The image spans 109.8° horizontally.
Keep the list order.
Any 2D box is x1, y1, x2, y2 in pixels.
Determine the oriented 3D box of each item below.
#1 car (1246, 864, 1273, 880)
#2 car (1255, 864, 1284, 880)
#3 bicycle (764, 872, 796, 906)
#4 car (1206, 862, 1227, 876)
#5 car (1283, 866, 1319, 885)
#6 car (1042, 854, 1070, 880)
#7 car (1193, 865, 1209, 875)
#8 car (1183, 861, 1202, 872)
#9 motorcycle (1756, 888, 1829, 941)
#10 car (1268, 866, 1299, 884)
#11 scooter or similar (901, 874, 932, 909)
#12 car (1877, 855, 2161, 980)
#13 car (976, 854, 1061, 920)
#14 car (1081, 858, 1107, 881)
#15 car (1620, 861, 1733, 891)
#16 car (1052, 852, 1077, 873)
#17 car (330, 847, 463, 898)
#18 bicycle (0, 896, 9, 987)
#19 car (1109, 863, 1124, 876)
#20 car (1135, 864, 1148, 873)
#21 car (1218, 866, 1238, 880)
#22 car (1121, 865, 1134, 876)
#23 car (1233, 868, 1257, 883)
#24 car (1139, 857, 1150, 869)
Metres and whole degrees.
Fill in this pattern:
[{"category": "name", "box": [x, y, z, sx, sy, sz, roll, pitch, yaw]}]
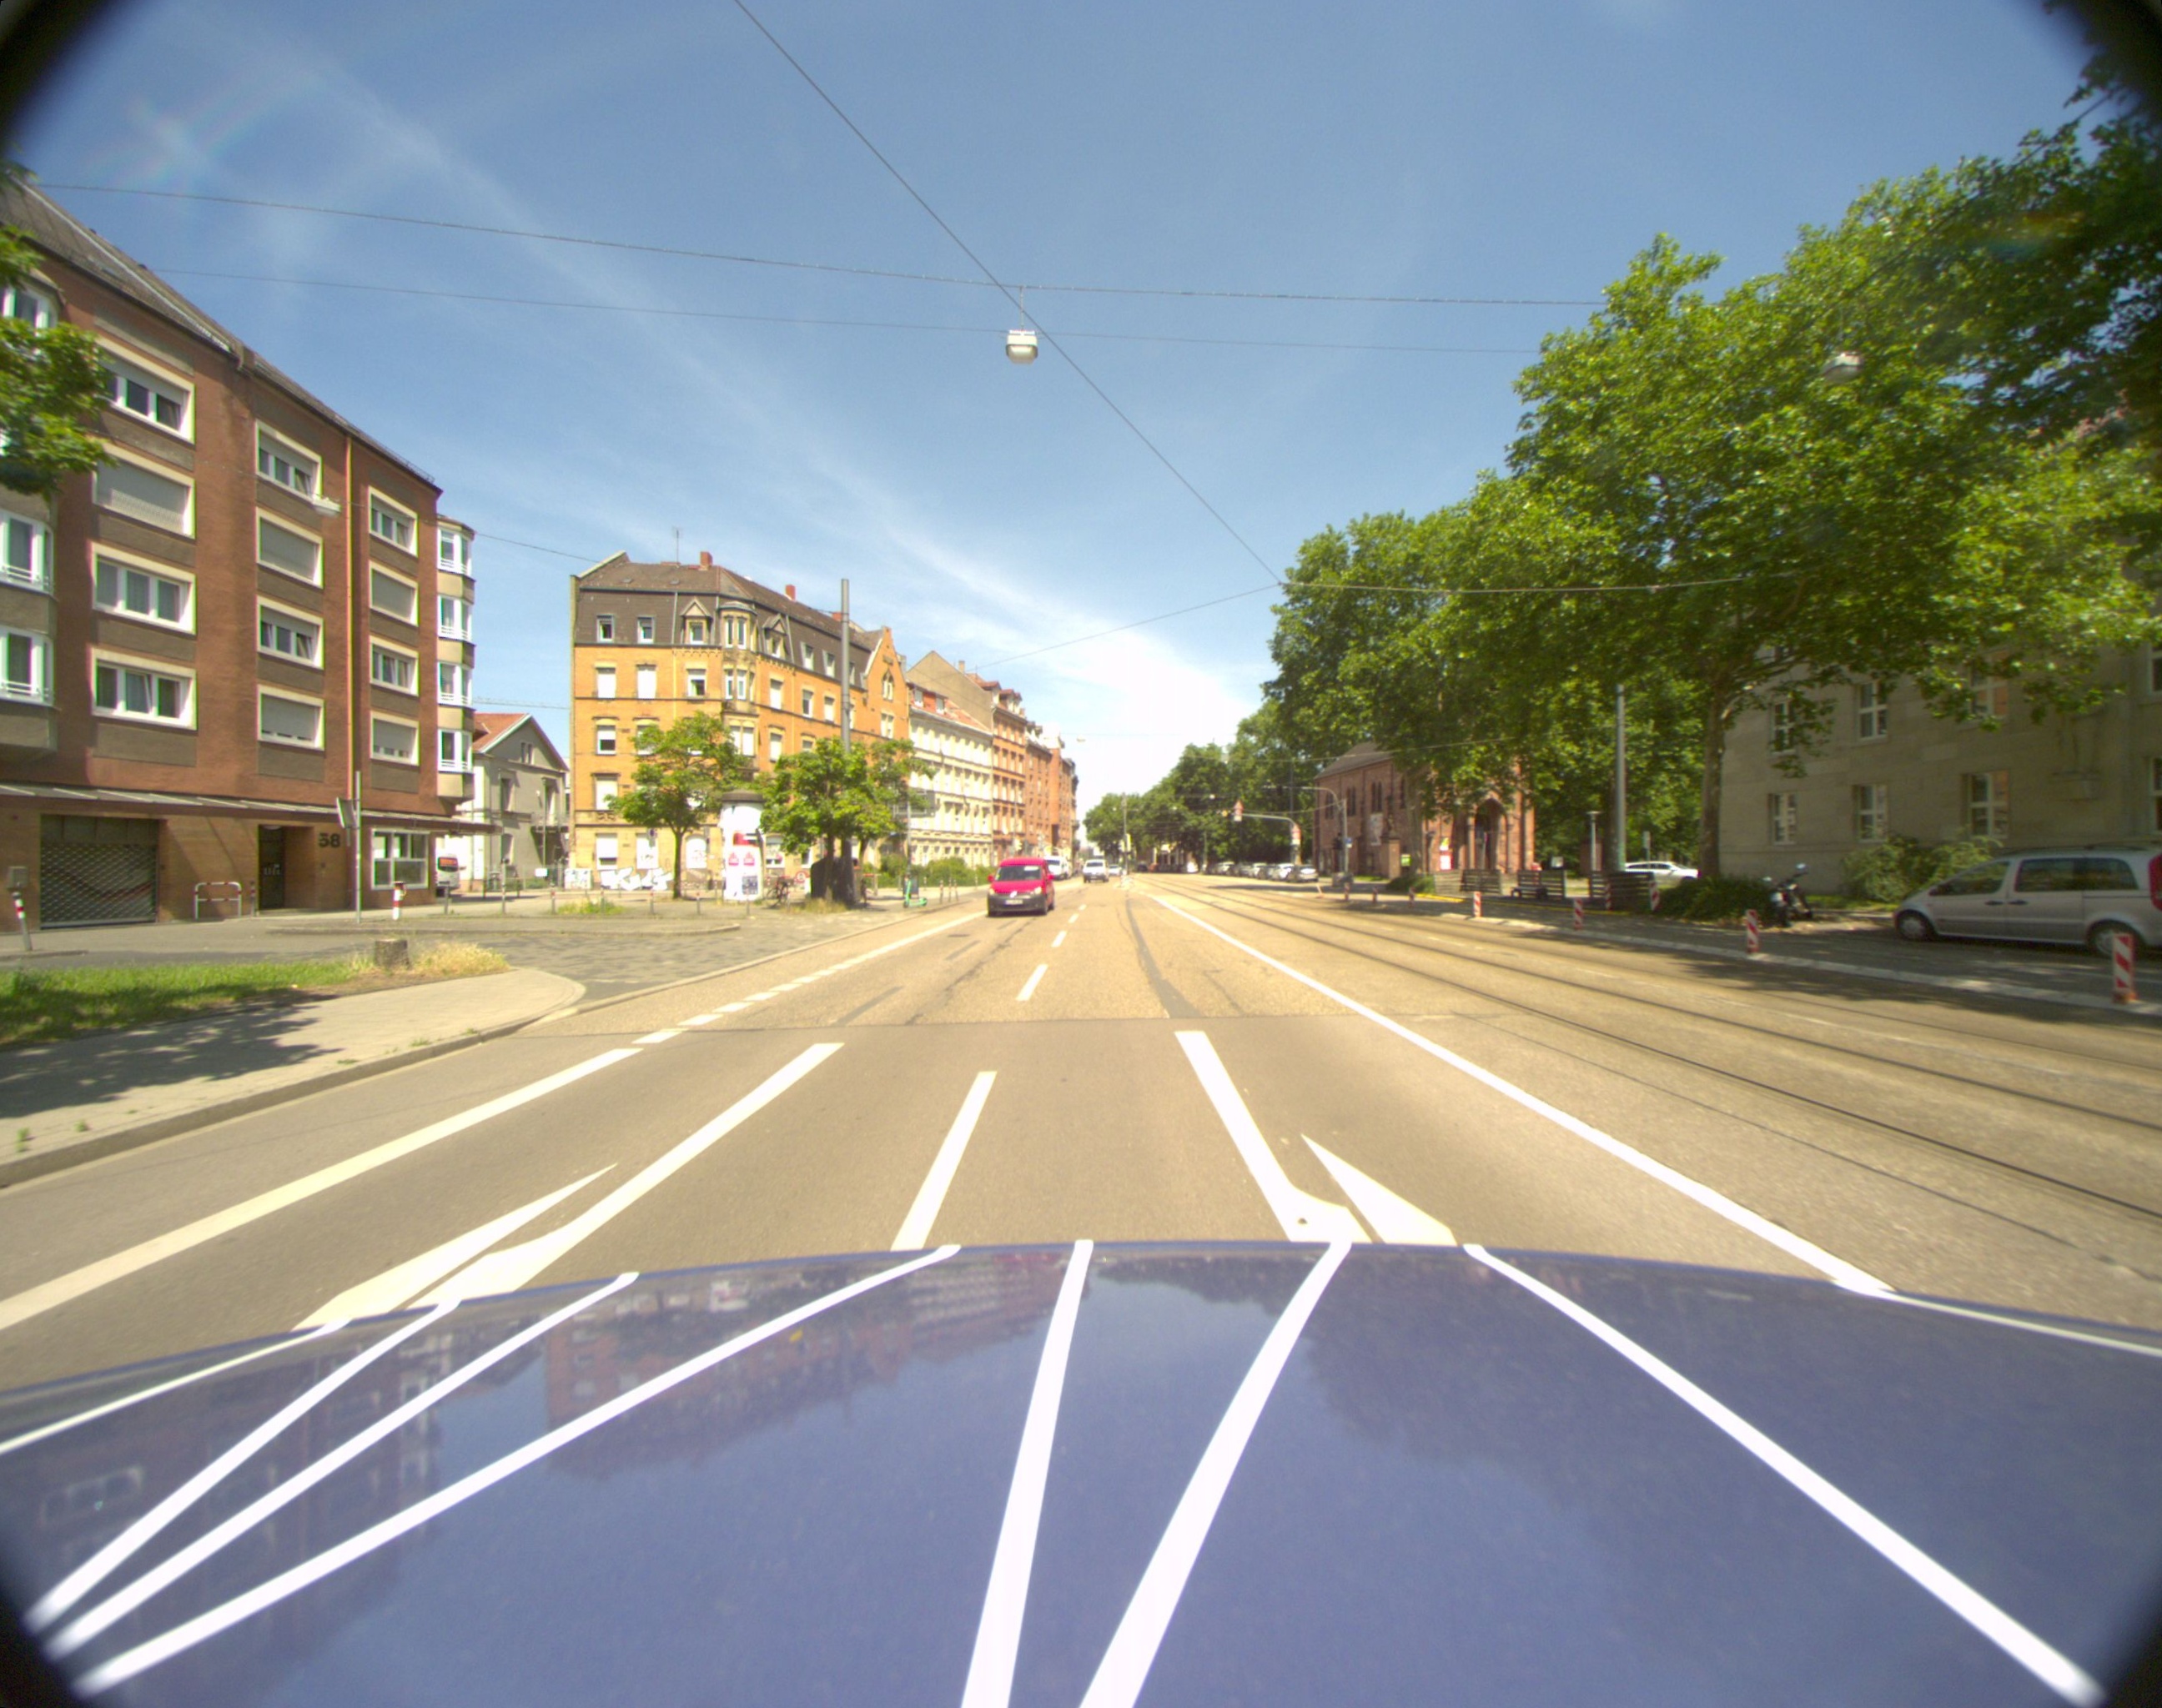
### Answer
[{"category": "car", "box": [17.874, 1.804, 76.308, 1.747, 1.450, 3.753, -1, 0, -1]}, {"category": "car", "box": [17.642, 1.658, 71.408, 1.662, 1.450, 4.058, -1, 0, -1]}, {"category": "bicycle", "box": [-10.834, 1.260, 27.391, 0.487, 1.146, 1.708, -1, 0, -2]}, {"category": "car", "box": [17.963, 1.984, 100.714, 1.998, 1.707, 4.000, -1, 0, 1]}, {"category": "car", "box": [17.685, 1.708, 61.301, 1.662, 1.450, 4.221, -1, 0, 1]}, {"category": "car", "box": [-2.381, 1.251, 74.631, 1.997, 2.317, 5.410, 2, 0, 6]}, {"category": "car", "box": [17.109, 2.275, 108.425, 1.650, 1.372, 3.765, -1, 0, -1]}, {"category": "car", "box": [16.885, 1.897, 115.273, 1.977, 1.553, 3.999, -1, 0, -2]}, {"category": "motorcycle", "box": [16.773, 1.407, 17.894, 1.875, 1.062, 0.725, -3, 1, -30]}, {"category": "car", "box": [17.644, 1.810, 66.280, 1.662, 1.450, 4.059, -1, 0, 1]}, {"category": "scooter or similar", "box": [-5.871, 1.338, 27.116, 0.390, 1.207, 1.182, 3, -1, 24]}, {"category": "car", "box": [17.035, 0.951, 13.191, 1.998, 1.800, 4.302, -1, 0, 2]}, {"category": "car", "box": [-1.852, 0.950, 24.175, 1.859, 1.823, 5.168, -1, 0, 5]}, {"category": "car", "box": [1.121, 1.311, 65.704, 2.165, 1.926, 4.855, -1, 0, 1]}, {"category": "car", "box": [32.968, 1.196, 42.195, 1.918, 1.499, 4.524, -1, 0, -34]}, {"category": "car", "box": [-1.756, 0.858, 81.217, 1.997, 2.123, 5.275, 2, 0, 5]}, {"category": "car", "box": [-37.474, 0.992, 41.700, 5.217, 2.606, 1.999, -1, 0, -4]}, {"category": "bicycle", "box": [-15.081, 1.170, 9.200, 0.739, 1.186, 2.365, -1, 0, 32]}, {"category": "car", "box": [4.386, 1.939, 94.588, 1.800, 1.564, 4.001, -1, 0, 2]}, {"category": "car", "box": [10.397, 2.460, 130.545, 1.751, 1.387, 4.346, -2, 0, -2]}, {"category": "car", "box": [17.819, 2.289, 92.363, 1.747, 1.643, 3.906, -1, 0, 1]}, {"category": "car", "box": [6.639, 2.331, 109.077, 1.800, 1.564, 4.001, -1, 0, 2]}, {"category": "car", "box": [17.615, 2.268, 81.802, 1.747, 1.514, 3.753, -1, 0, -1]}, {"category": "car", "box": [12.724, 1.726, 151.956, 1.821, 2.283, 3.761, -1, 0, -2]}]
